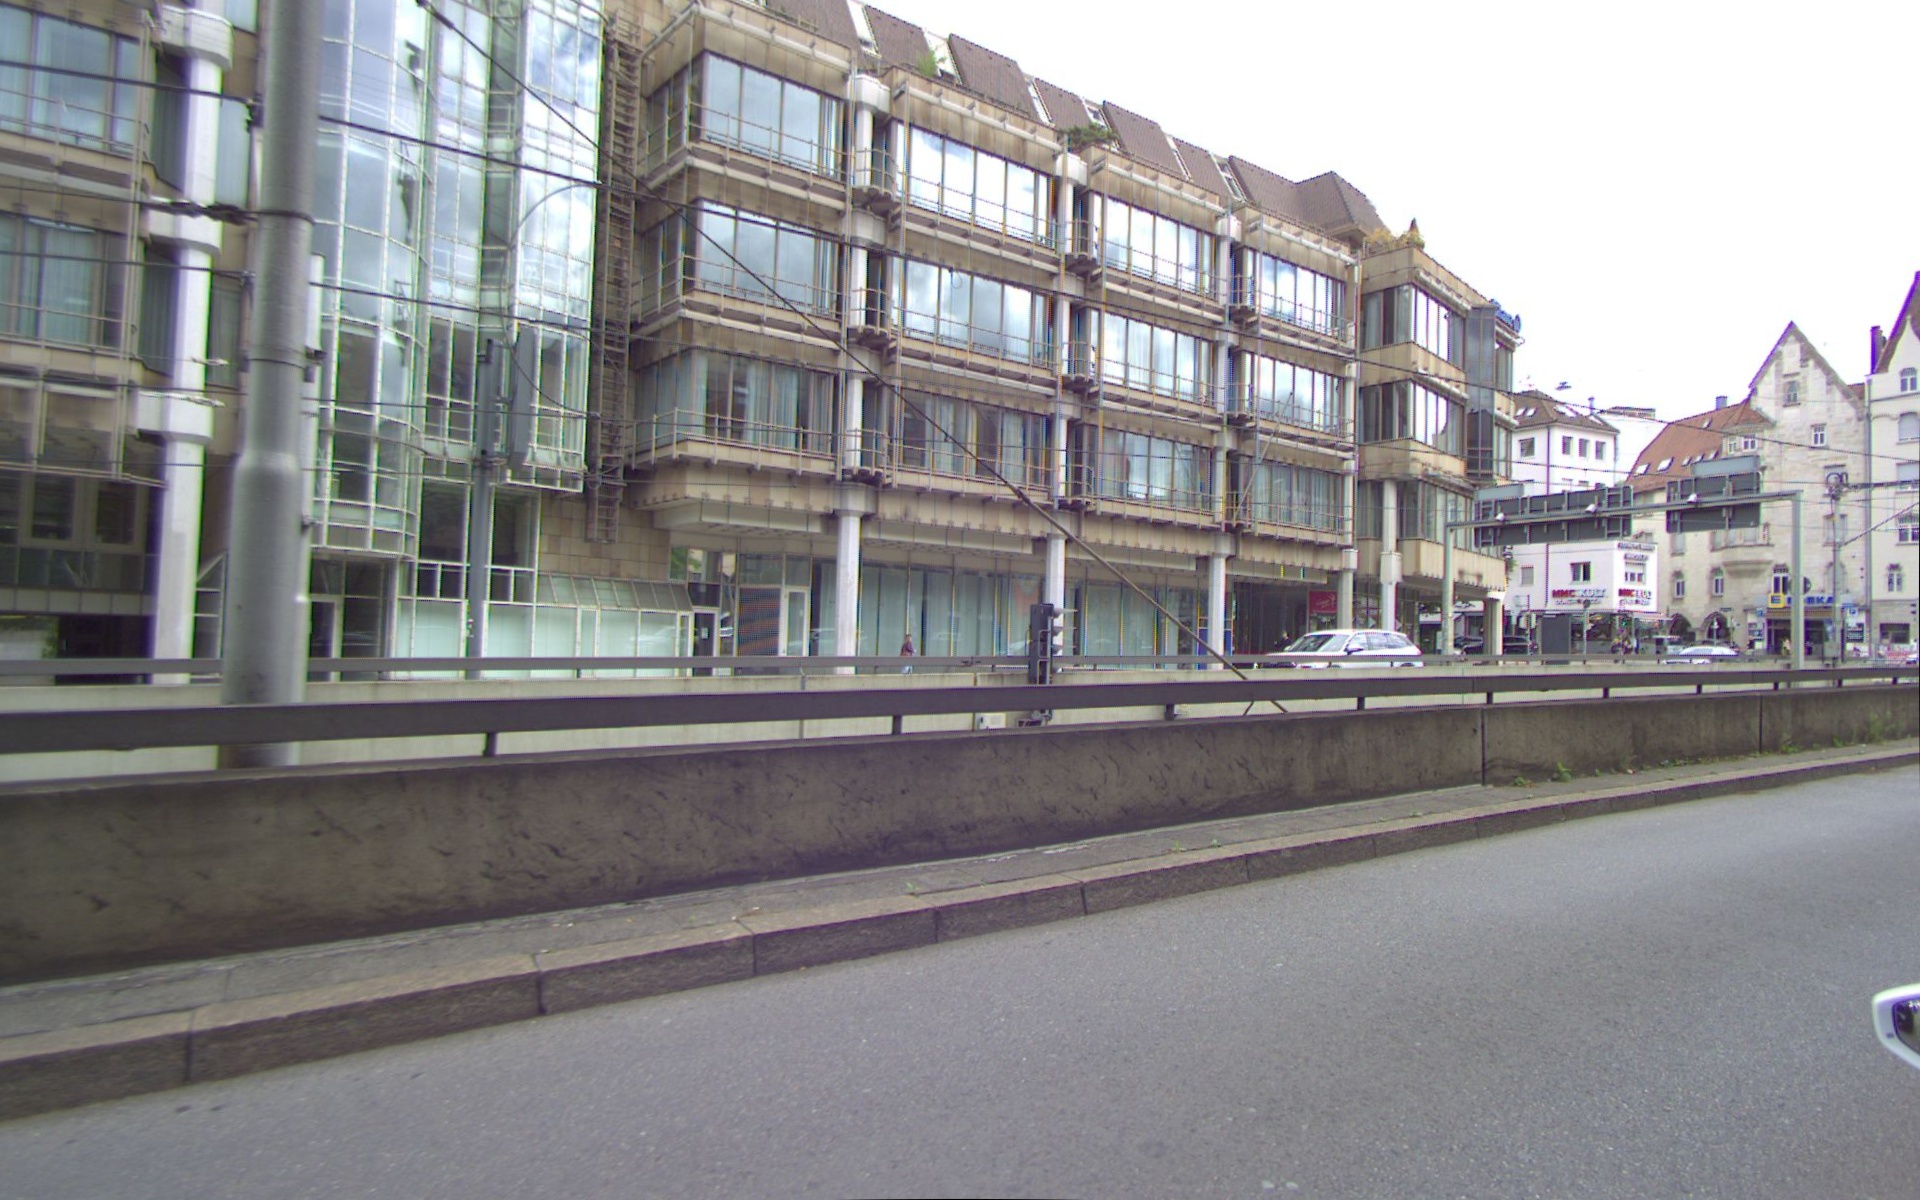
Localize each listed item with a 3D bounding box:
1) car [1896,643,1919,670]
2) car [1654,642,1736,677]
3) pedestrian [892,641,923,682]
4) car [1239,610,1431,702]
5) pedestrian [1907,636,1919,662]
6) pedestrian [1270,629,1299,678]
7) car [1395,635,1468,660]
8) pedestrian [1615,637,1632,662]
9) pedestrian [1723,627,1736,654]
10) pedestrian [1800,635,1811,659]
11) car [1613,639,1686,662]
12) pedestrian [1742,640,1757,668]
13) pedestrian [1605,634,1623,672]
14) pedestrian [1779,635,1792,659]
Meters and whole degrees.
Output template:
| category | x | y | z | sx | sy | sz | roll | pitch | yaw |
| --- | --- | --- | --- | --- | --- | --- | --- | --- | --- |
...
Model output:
| category | x | y | z | sx | sy | sz | roll | pitch | yaw |
| --- | --- | --- | --- | --- | --- | --- | --- | --- | --- |
| car | 60.230 | 3.524 | 61.130 | 4.428 | 1.581 | 1.753 | 1 | -1 | 25 |
| car | 34.235 | 2.744 | 46.785 | 3.996 | 1.521 | 1.656 | 2 | -2 | -30 |
| pedestrian | -1.721 | 2.001 | 32.853 | 0.731 | 1.282 | 0.727 | 2 | -1 | -31 |
| car | 8.749 | 1.264 | 23.301 | 4.559 | 1.867 | 1.821 | 2 | 2 | -35 |
| pedestrian | 65.023 | 3.304 | 68.214 | 0.643 | 1.728 | 0.781 | 1 | -1 | -20 |
| pedestrian | 12.332 | 2.026 | 38.200 | 0.731 | 1.835 | 0.727 | 2 | -1 | -31 |
| car | 31.648 | 3.168 | 67.473 | 1.935 | 1.550 | 3.953 | 2 | -1 | -40 |
| pedestrian | 46.110 | 3.419 | 69.836 | 0.643 | 1.728 | 0.781 | 1 | -1 | -20 |
| pedestrian | 51.869 | 2.695 | 67.706 | 0.501 | 1.803 | 0.577 | 1 | -1 | 1 |
| pedestrian | 64.770 | 3.581 | 76.945 | 0.507 | 1.803 | 0.570 | 2 | -2 | -39 |
| car | 52.105 | 3.800 | 76.041 | 1.726 | 1.581 | 4.499 | 2 | -1 | -16 |
| pedestrian | 51.830 | 3.517 | 65.937 | 0.567 | 1.803 | 0.510 | 1 | -1 | -13 |
| pedestrian | 31.653 | 2.547 | 48.583 | 0.569 | 1.803 | 0.508 | 1 | -1 | -23 |
| pedestrian | 62.304 | 3.555 | 75.802 | 0.565 | 1.803 | 0.512 | 0 | -1 | 15 |
